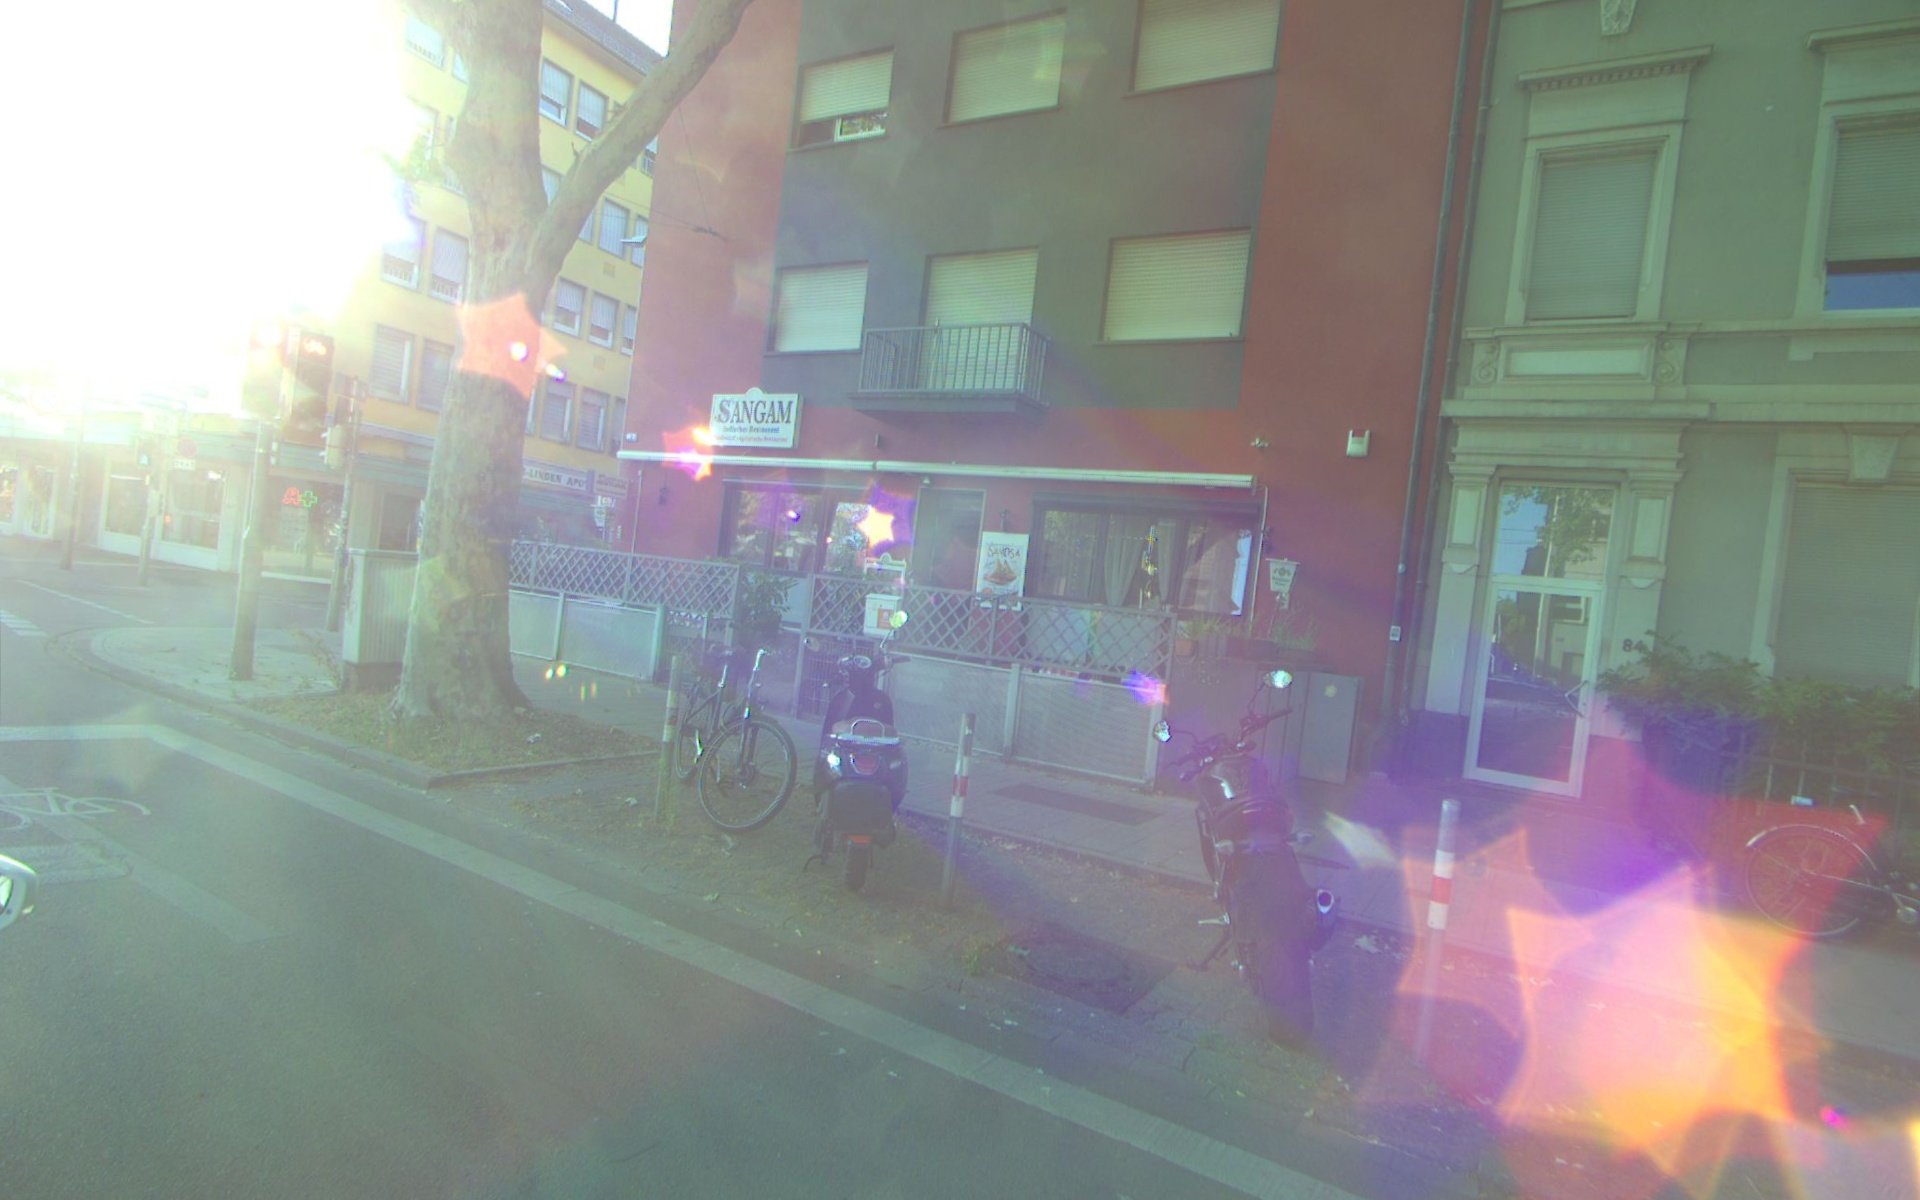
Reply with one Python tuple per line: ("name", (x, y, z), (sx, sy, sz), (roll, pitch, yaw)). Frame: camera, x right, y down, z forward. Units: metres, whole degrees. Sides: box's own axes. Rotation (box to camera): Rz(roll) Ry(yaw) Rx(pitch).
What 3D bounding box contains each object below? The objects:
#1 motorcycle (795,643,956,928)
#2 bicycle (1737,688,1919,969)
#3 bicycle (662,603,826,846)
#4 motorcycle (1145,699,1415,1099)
("motorcycle", (-0.548, 0.914, 5.656), (0.591, 1.166, 1.994), (6, 0, -10))
("bicycle", (5.860, 1.372, 5.507), (2.356, 1.443, 0.608), (6, -1, 32))
("bicycle", (-1.497, 0.740, 6.682), (0.686, 1.219, 1.837), (8, 2, -20))
("motorcycle", (1.312, 1.150, 4.621), (0.752, 1.077, 2.212), (7, 2, 9))
